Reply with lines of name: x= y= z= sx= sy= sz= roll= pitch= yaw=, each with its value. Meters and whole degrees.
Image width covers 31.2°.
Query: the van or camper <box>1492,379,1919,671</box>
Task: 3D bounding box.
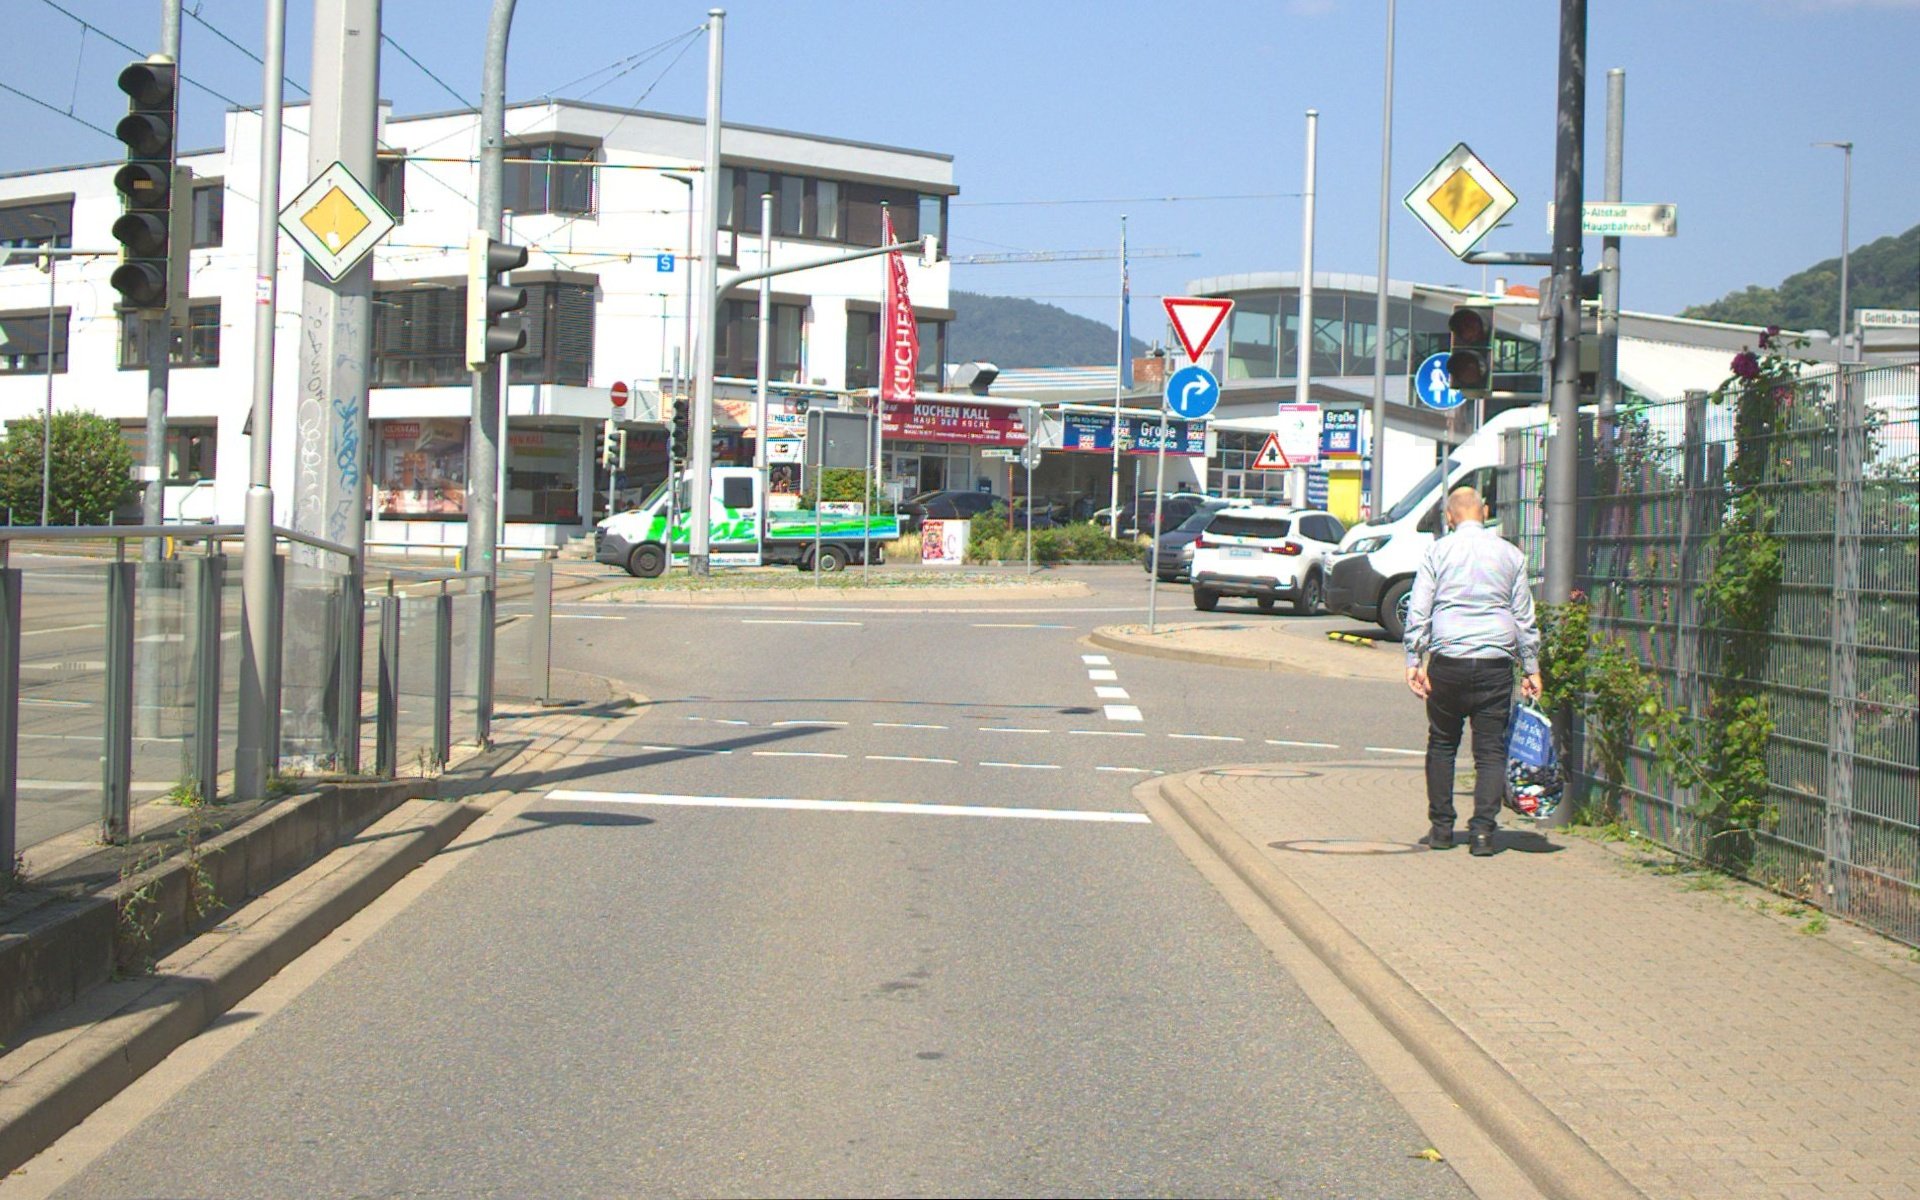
van or camper: x=8.472 y=-0.795 z=35.826 sx=5.507 sy=2.804 sz=2.048 roll=2 pitch=3 yaw=4

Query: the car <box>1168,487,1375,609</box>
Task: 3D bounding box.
car: x=4.824 y=-0.808 z=52.645 sx=1.996 sy=1.727 sz=4.559 roll=2 pitch=2 yaw=20

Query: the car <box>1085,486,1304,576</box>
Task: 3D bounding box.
car: x=5.102 y=-1.502 z=74.666 sx=4.395 sy=1.812 sz=1.990 roll=1 pitch=2 yaw=-34

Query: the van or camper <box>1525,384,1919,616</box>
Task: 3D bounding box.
van or camper: x=11.070 y=-1.289 z=44.662 sx=7.061 sy=2.936 sz=2.335 roll=0 pitch=1 yaw=0

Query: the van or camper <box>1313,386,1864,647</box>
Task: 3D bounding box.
van or camper: x=7.002 y=-0.962 z=38.824 sx=5.811 sy=2.764 sz=2.091 roll=1 pitch=2 yaw=2

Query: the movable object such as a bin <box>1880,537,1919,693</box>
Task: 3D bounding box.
movable object such as a bin: x=9.718 y=0.154 z=33.676 sx=1.253 sy=1.452 sz=1.079 roll=2 pitch=4 yaw=12

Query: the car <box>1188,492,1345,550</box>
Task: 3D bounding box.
car: x=8.837 y=-2.251 z=98.896 sx=1.885 sy=1.583 sz=4.916 roll=0 pitch=0 yaw=43

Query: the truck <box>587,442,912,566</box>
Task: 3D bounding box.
truck: x=-4.343 y=-1.967 z=70.611 sx=6.366 sy=2.329 sz=2.210 roll=1 pitch=2 yaw=-11

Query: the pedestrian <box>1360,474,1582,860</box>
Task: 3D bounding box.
pedestrian: x=2.305 y=0.285 z=15.606 sx=0.812 sy=1.693 sz=0.887 roll=1 pitch=1 yaw=-3

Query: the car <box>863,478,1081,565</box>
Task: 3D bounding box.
car: x=0.312 y=-1.864 z=82.393 sx=5.266 sy=1.959 sz=1.965 roll=0 pitch=2 yaw=-43
